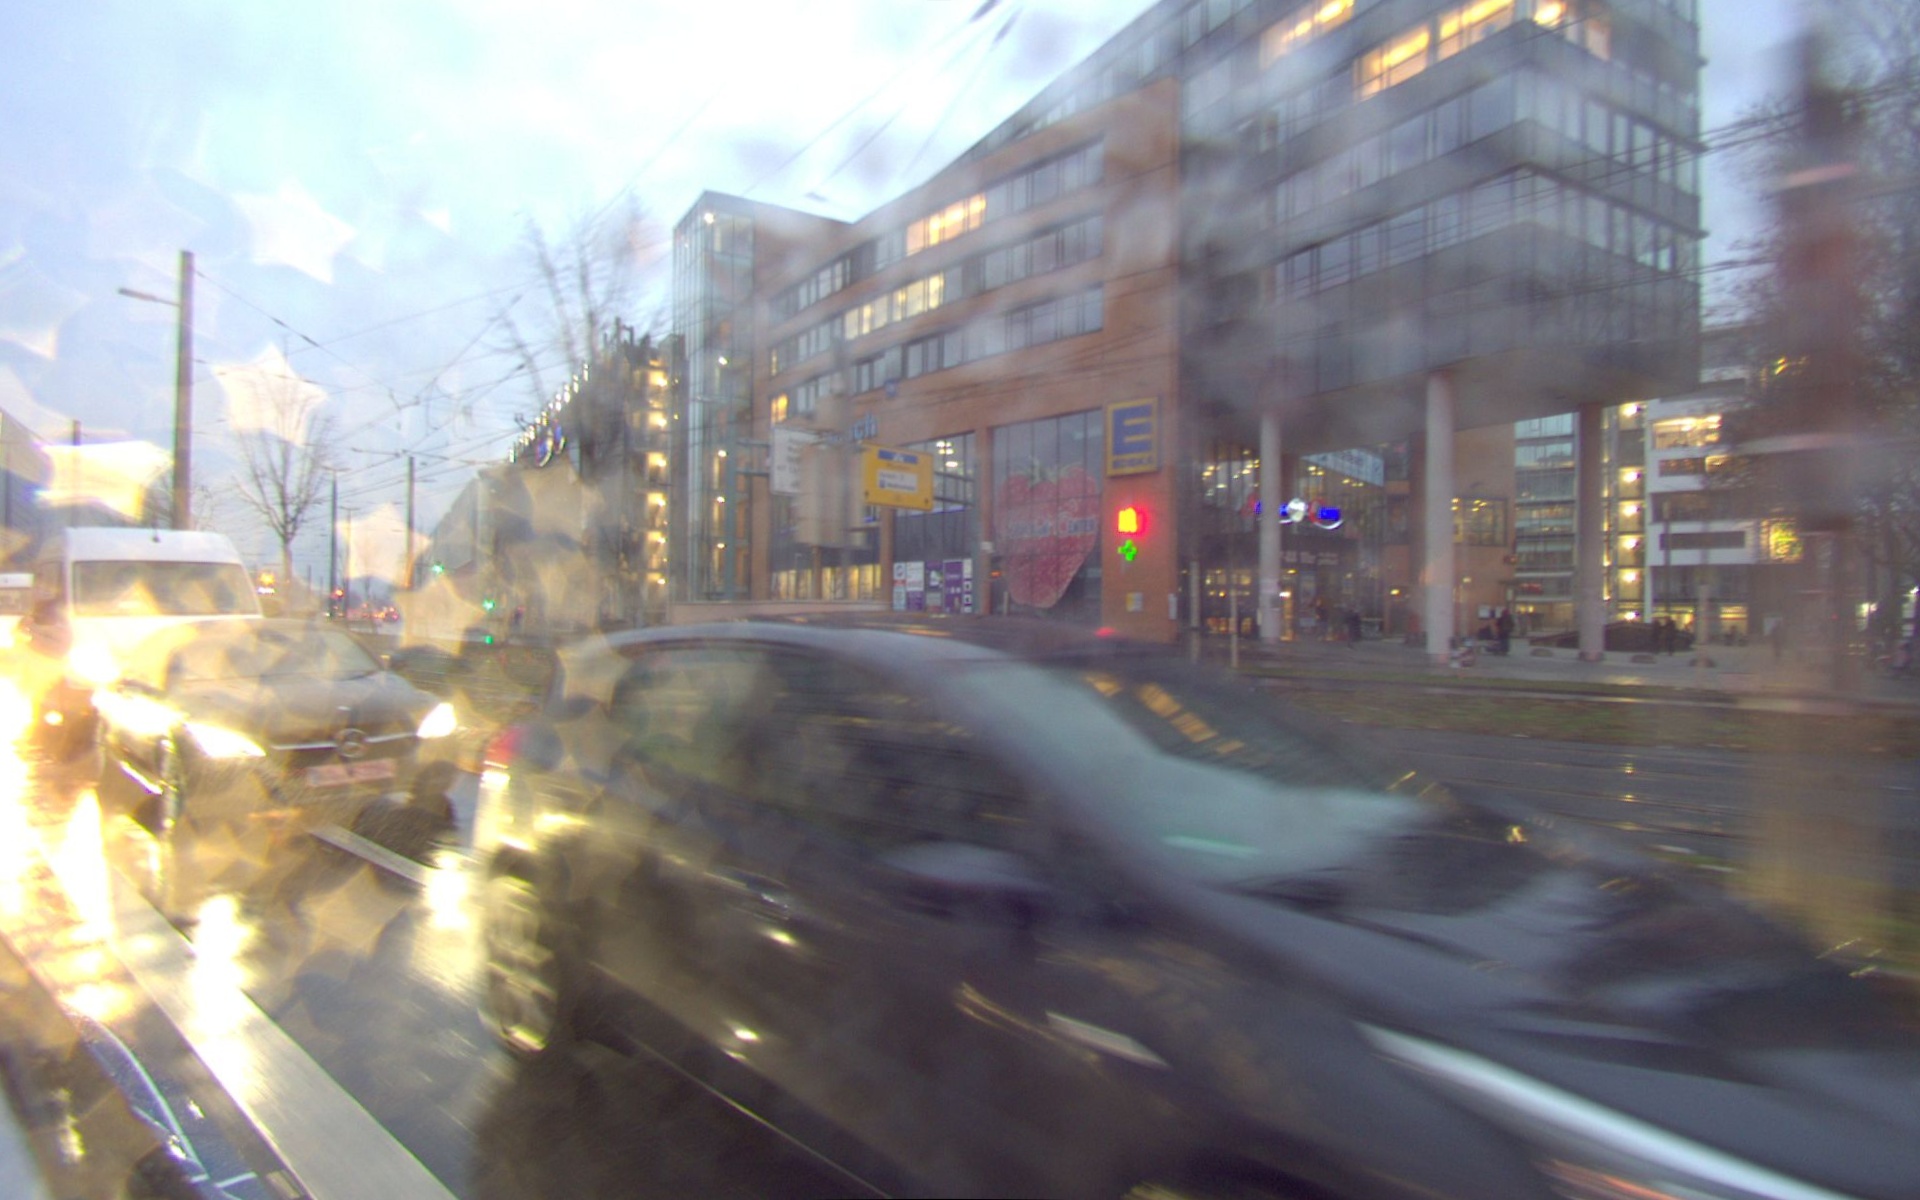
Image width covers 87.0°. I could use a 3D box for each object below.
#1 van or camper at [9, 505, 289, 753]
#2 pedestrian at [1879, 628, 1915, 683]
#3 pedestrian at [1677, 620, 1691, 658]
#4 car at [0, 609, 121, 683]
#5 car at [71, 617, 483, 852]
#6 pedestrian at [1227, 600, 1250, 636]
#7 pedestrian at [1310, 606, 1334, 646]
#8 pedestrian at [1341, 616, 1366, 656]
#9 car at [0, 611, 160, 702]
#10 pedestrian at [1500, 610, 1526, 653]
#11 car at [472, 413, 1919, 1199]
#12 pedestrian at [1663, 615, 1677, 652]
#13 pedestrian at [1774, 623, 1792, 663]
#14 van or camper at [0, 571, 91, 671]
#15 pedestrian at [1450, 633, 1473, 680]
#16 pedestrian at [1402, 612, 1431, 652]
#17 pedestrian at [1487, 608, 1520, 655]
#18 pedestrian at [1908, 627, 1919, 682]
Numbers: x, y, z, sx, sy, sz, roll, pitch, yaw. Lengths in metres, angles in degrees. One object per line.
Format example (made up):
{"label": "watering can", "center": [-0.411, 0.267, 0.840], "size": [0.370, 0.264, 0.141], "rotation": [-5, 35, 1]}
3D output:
{"label": "van or camper", "center": [-10.781, 0.298, 13.240], "size": [5.885, 2.567, 2.033], "rotation": [0, 0, 43]}
{"label": "pedestrian", "center": [29.453, 1.734, 31.822], "size": [0.590, 1.696, 0.560], "rotation": [0, -1, 8]}
{"label": "pedestrian", "center": [34.095, 1.828, 47.671], "size": [0.446, 1.764, 0.645], "rotation": [-1, -2, 41]}
{"label": "car", "center": [-19.663, 0.933, 21.895], "size": [3.952, 1.409, 1.800], "rotation": [-1, 0, 43]}
{"label": "car", "center": [-5.627, 0.833, 8.109], "size": [4.224, 1.342, 1.800], "rotation": [-1, 0, 43]}
{"label": "pedestrian", "center": [11.690, 0.758, 42.508], "size": [0.642, 1.515, 0.695], "rotation": [2, -2, -40]}
{"label": "pedestrian", "center": [15.459, 1.106, 43.190], "size": [0.730, 1.669, 0.695], "rotation": [2, -2, -40]}
{"label": "pedestrian", "center": [15.256, 1.386, 39.260], "size": [0.642, 1.515, 0.695], "rotation": [2, -2, -40]}
{"label": "car", "center": [-15.770, 0.924, 18.018], "size": [3.952, 1.409, 1.800], "rotation": [-1, 0, 43]}
{"label": "pedestrian", "center": [22.337, 1.266, 40.859], "size": [0.716, 1.721, 0.695], "rotation": [2, -2, -40]}
{"label": "car", "center": [0.330, 0.638, 2.696], "size": [3.760, 1.585, 1.662], "rotation": [-1, -2, 43]}
{"label": "pedestrian", "center": [33.642, 1.589, 47.968], "size": [0.446, 1.764, 0.645], "rotation": [-1, -2, 41]}
{"label": "pedestrian", "center": [35.563, 1.853, 43.714], "size": [0.560, 1.696, 0.590], "rotation": [-1, -2, 37]}
{"label": "van or camper", "center": [-24.350, 0.522, 26.433], "size": [2.155, 2.370, 5.654], "rotation": [-1, 0, -44]}
{"label": "pedestrian", "center": [14.070, 1.573, 28.405], "size": [0.495, 1.274, 0.440], "rotation": [0, 0, 37]}
{"label": "pedestrian", "center": [20.018, 1.418, 44.425], "size": [0.910, 1.721, 0.696], "rotation": [1, -2, -16]}
{"label": "pedestrian", "center": [21.618, 1.256, 40.233], "size": [0.763, 1.860, 0.924], "rotation": [2, -2, -40]}
{"label": "pedestrian", "center": [29.727, 1.679, 31.122], "size": [0.591, 1.696, 0.560], "rotation": [0, -1, 8]}
